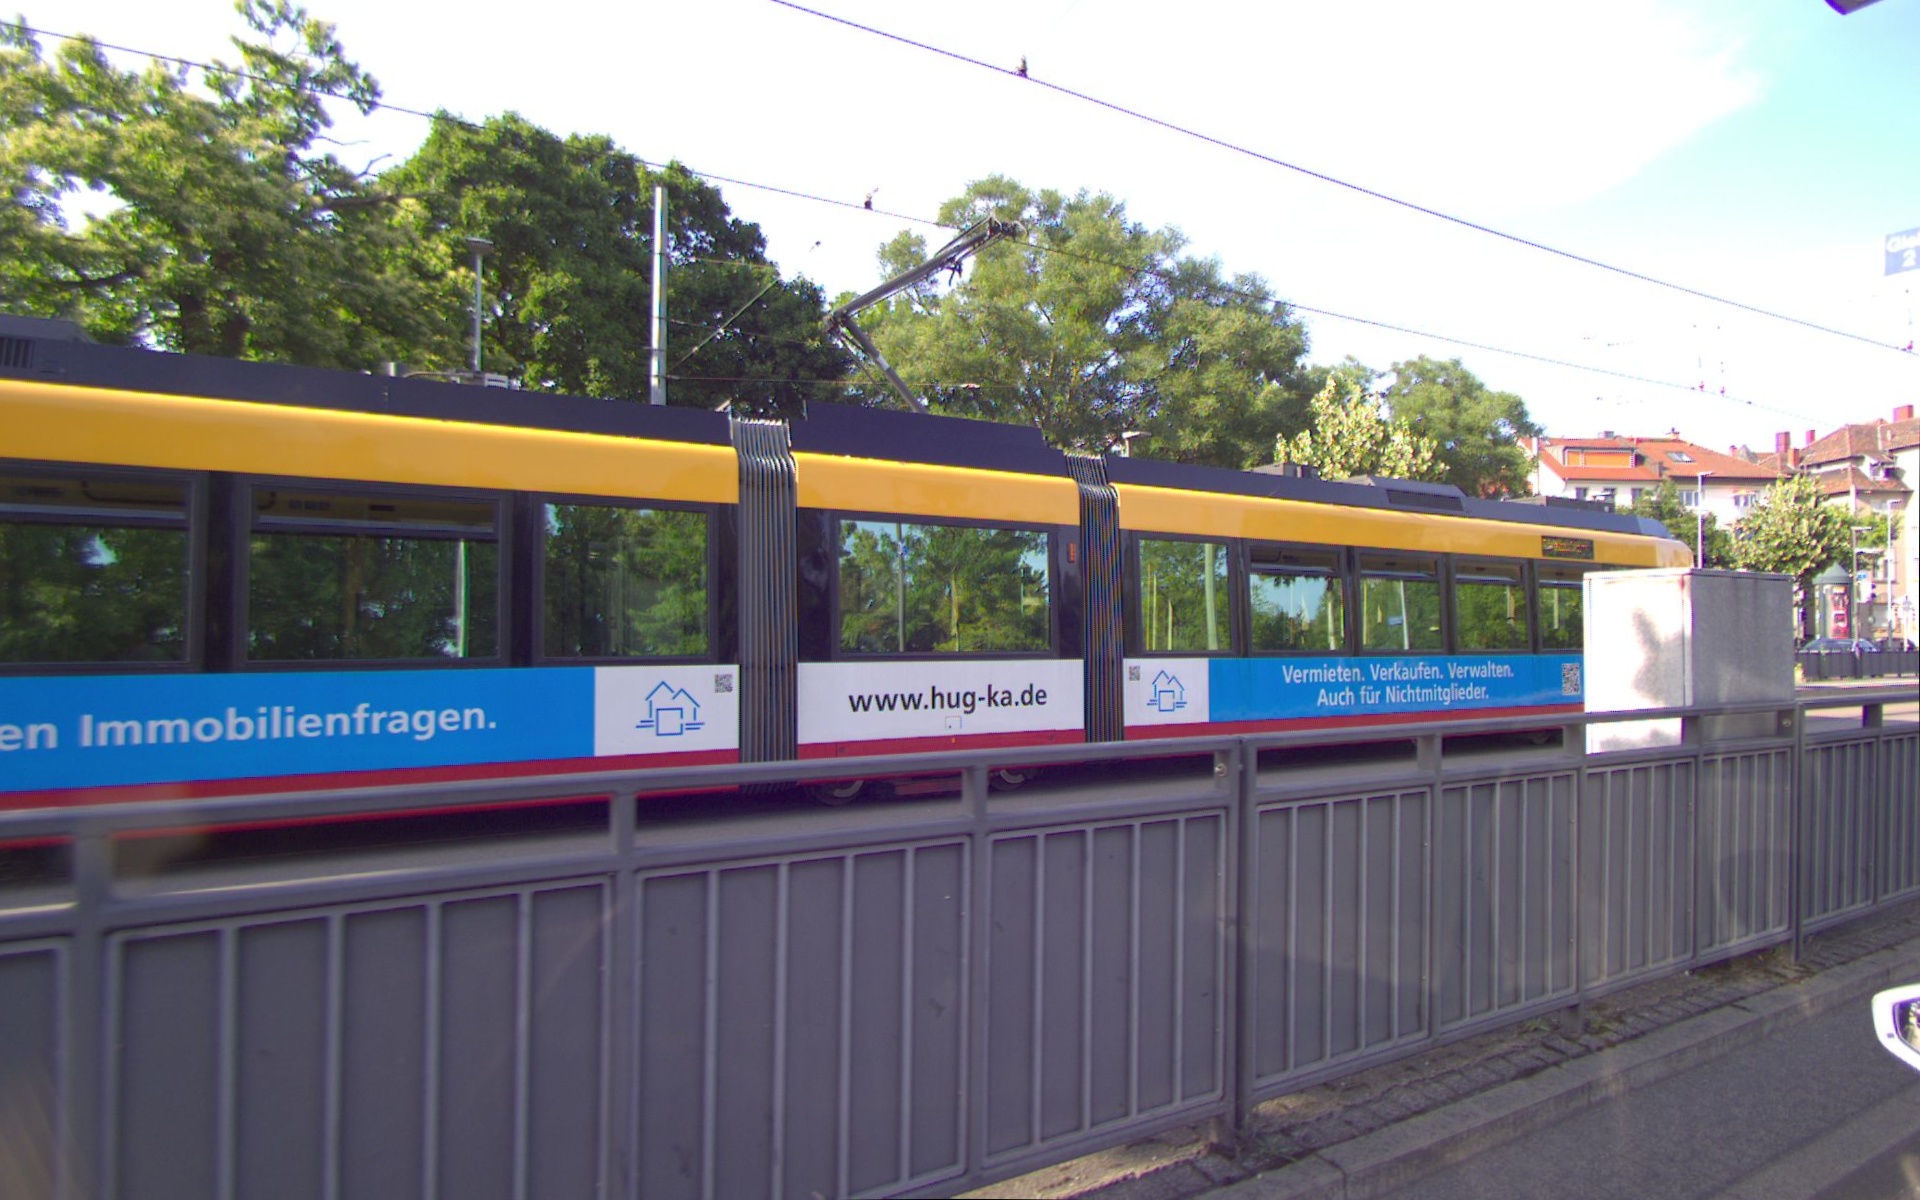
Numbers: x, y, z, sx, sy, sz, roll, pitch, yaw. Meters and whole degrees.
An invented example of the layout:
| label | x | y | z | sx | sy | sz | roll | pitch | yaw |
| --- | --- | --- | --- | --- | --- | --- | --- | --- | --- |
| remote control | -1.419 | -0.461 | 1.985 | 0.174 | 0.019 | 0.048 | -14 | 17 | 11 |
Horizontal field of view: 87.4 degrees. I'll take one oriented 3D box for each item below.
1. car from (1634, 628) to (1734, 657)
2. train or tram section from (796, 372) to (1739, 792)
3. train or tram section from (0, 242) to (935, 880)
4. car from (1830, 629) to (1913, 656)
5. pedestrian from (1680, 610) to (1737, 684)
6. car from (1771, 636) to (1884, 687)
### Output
| label | x | y | z | sx | sy | sz | roll | pitch | yaw |
| --- | --- | --- | --- | --- | --- | --- | --- | --- | --- |
| car | 38.301 | 2.231 | 53.225 | 1.966 | 1.416 | 3.989 | 0 | -1 | -14 |
| train or tram section | 5.126 | -0.043 | 13.387 | 14.299 | 3.525 | 3.147 | 1 | -1 | -30 |
| train or tram section | -7.193 | -0.210 | 6.276 | 14.359 | 3.525 | 3.147 | 1 | -1 | -30 |
| car | 64.841 | 2.994 | 71.528 | 1.964 | 1.773 | 3.992 | 0 | -1 | -11 |
| pedestrian | 18.142 | 1.123 | 24.362 | 0.763 | 1.756 | 0.832 | 1 | -2 | -28 |
| car | 31.935 | 2.213 | 36.962 | 3.953 | 1.706 | 1.984 | 1 | -1 | -30 |
